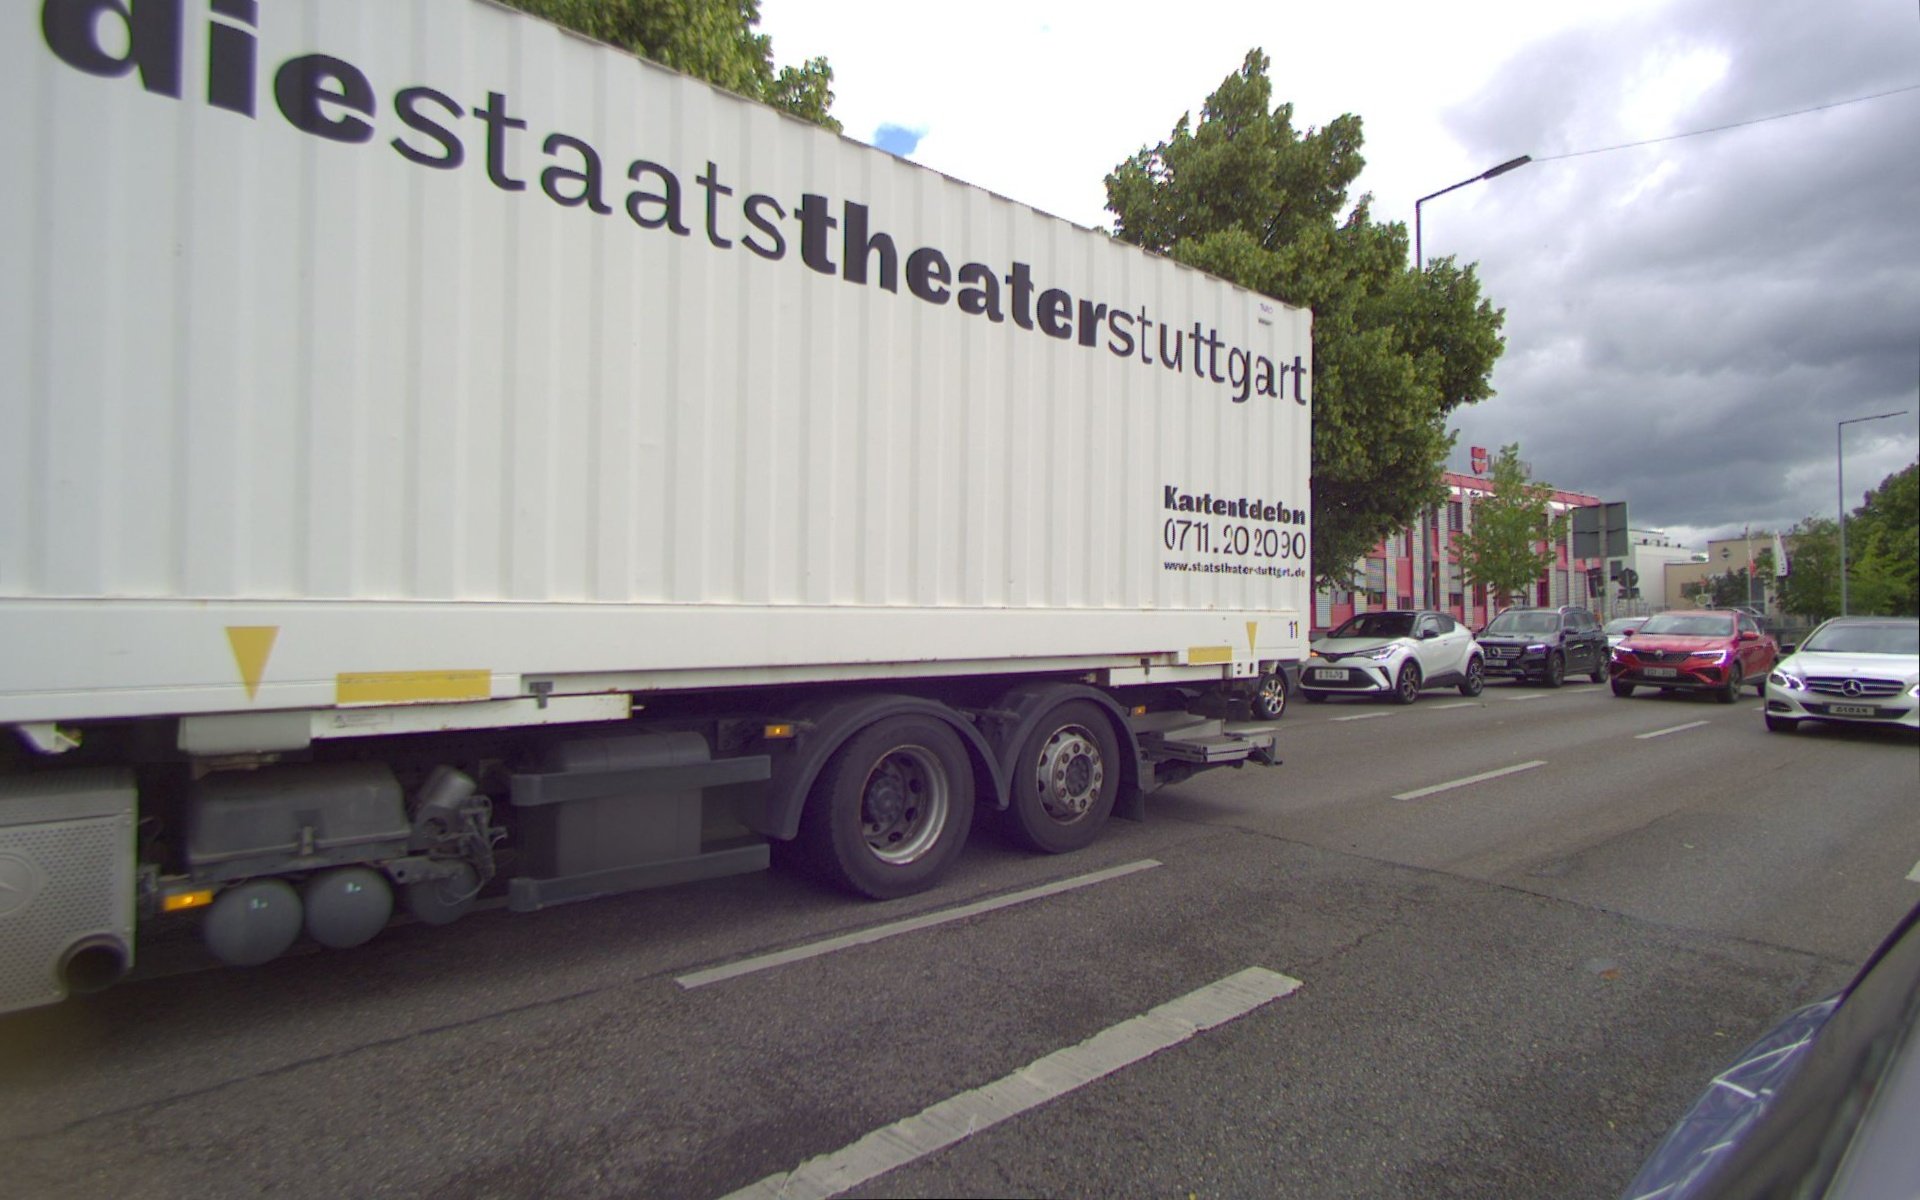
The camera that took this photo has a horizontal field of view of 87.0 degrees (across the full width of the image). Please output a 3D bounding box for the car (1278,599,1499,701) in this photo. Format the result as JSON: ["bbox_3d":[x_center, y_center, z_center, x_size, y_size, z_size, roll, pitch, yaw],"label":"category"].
[{"bbox_3d":[7.398,0.803,17.323,4.034,1.536,1.842,0,-4,-41],"label":"car"}]

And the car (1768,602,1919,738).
[{"bbox_3d":[11.959,0.778,12.729,4.237,1.429,1.805,-1,0,-37],"label":"car"}]

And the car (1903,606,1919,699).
[{"bbox_3d":[19.035,0.944,18.931,3.927,1.618,1.667,-1,0,-41],"label":"car"}]

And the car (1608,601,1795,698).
[{"bbox_3d":[13.454,0.824,18.268,4.299,1.549,1.850,1,-1,-41],"label":"car"}]

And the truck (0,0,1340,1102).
[{"bbox_3d":[-1.798,-0.554,5.513,10.002,3.953,2.808,0,0,-41],"label":"truck"}]

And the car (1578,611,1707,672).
[{"bbox_3d":[17.867,1.017,26.413,4.293,1.458,1.761,0,-1,-41],"label":"car"}]

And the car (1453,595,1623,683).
[{"bbox_3d":[12.383,0.809,21.582,4.133,1.679,1.863,1,-3,-41],"label":"car"}]

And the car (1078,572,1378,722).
[{"bbox_3d":[3.894,0.631,14.287,4.591,1.798,1.762,1,-3,-40],"label":"car"}]
